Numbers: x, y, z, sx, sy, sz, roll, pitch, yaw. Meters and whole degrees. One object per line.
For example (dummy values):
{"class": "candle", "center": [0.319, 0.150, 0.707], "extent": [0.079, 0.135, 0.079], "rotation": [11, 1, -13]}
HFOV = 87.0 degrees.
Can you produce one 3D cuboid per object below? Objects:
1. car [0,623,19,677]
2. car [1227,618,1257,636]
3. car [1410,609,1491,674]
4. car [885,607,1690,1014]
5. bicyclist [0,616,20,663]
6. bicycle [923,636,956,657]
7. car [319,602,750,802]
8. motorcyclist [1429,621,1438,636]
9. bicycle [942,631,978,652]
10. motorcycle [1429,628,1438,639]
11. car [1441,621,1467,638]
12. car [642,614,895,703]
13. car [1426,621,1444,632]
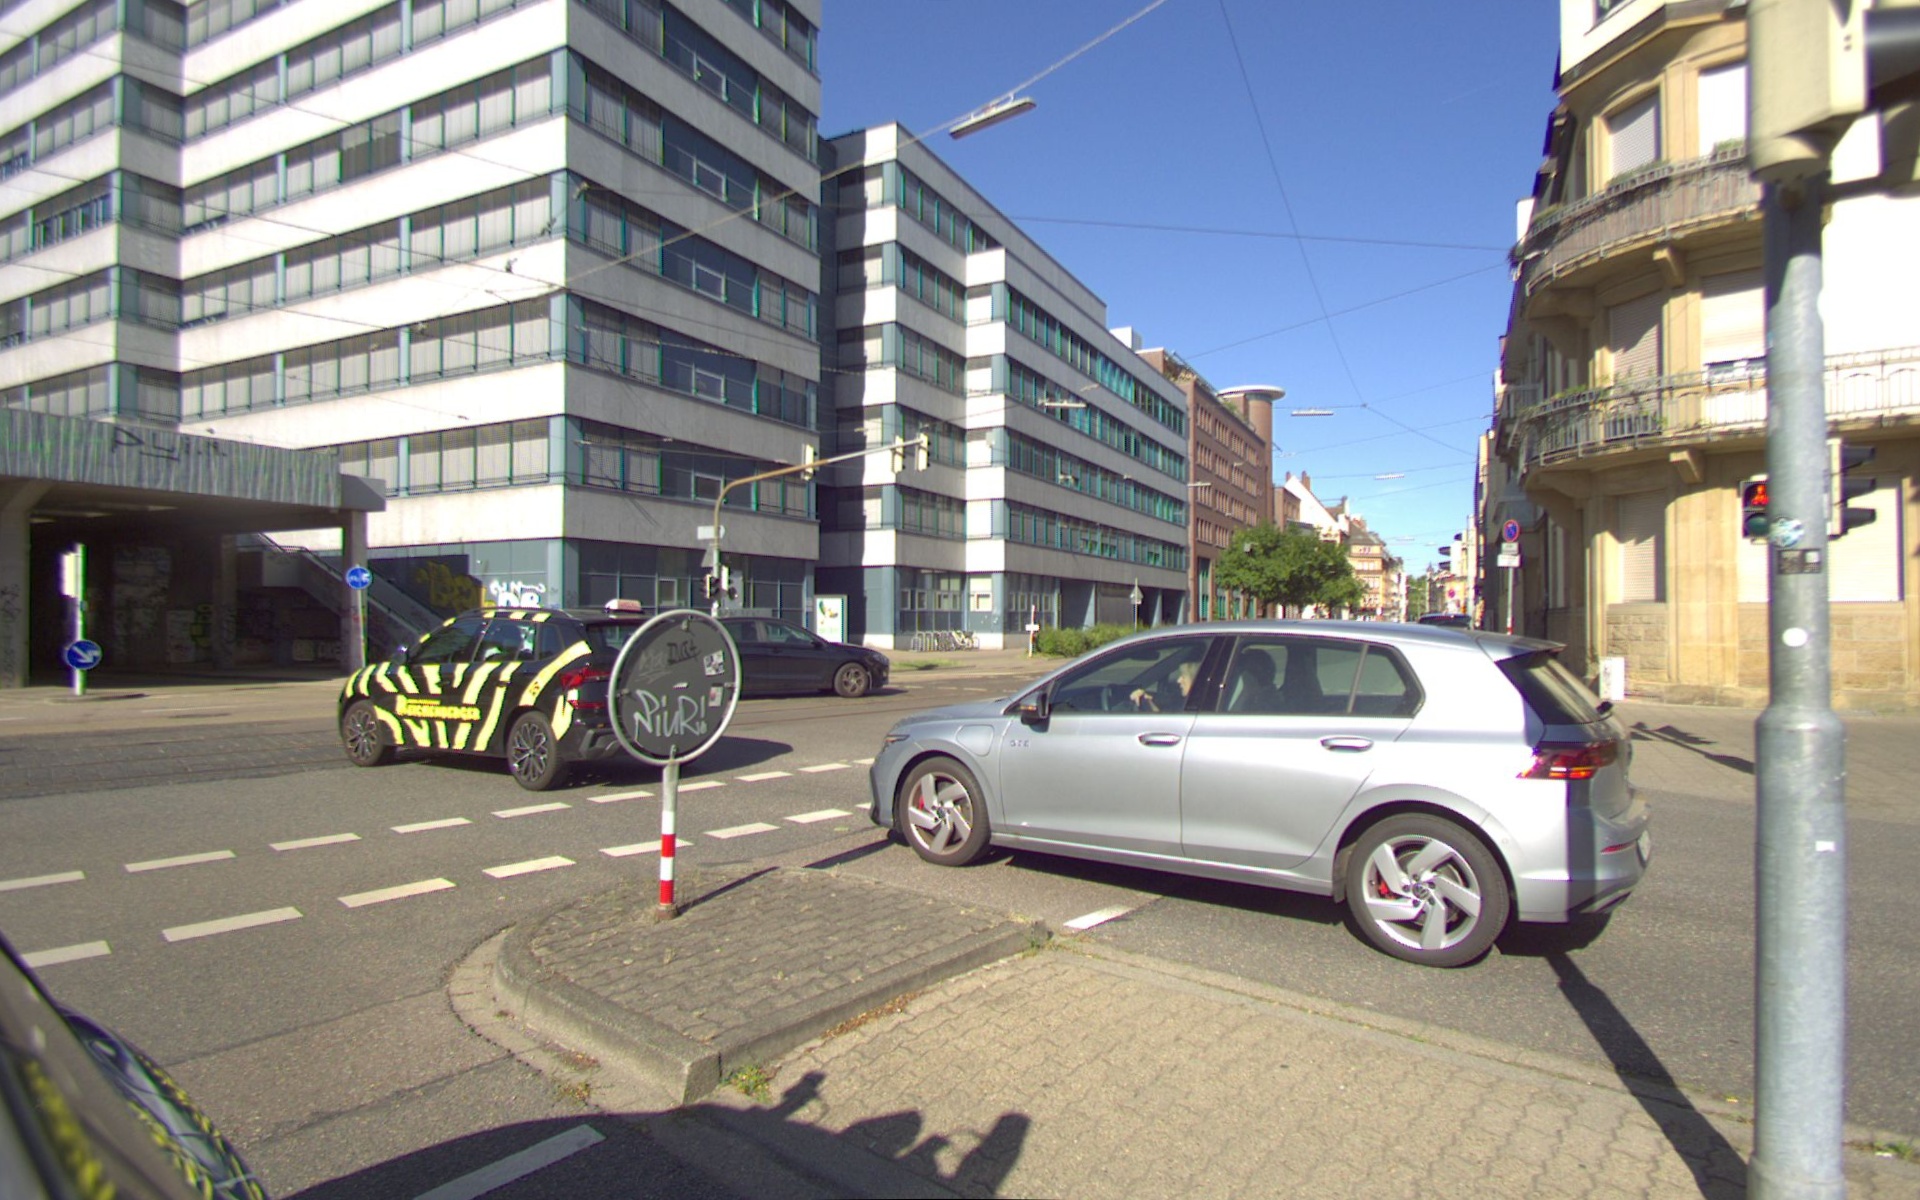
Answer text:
{"class": "car", "center": [-31.039, 1.537, 30.989], "extent": [4.125, 1.622, 1.874], "rotation": [-1, -2, 26]}
{"class": "car", "center": [24.783, 2.366, 88.838], "extent": [1.772, 1.614, 3.962], "rotation": [-1, -2, 28]}
{"class": "car", "center": [14.253, 1.160, 29.299], "extent": [1.954, 1.737, 4.133], "rotation": [0, -1, 28]}
{"class": "car", "center": [1.582, 0.788, 5.514], "extent": [3.845, 1.463, 1.692], "rotation": [-1, -1, 38]}
{"class": "bicyclist", "center": [-34.362, 1.412, 36.198], "extent": [1.026, 1.673, 0.777], "rotation": [-1, -2, 28]}
{"class": "bicycle", "center": [-1.012, 2.234, 48.955], "extent": [1.662, 0.988, 0.481], "rotation": [-1, -1, 37]}
{"class": "car", "center": [-4.111, 0.830, 9.612], "extent": [4.103, 1.525, 1.774], "rotation": [-1, -2, 33]}
{"class": "motorcyclist", "center": [59.060, 3.547, 126.133], "extent": [0.937, 1.884, 1.047], "rotation": [-1, -2, 23]}
{"class": "bicycle", "center": [-0.015, 2.033, 49.929], "extent": [1.896, 0.988, 0.481], "rotation": [-1, -1, 37]}
{"class": "motorcycle", "center": [59.083, 4.163, 126.200], "extent": [0.911, 1.242, 2.741], "rotation": [-1, -1, 24]}
{"class": "car", "center": [42.649, 2.513, 87.381], "extent": [1.796, 1.373, 3.676], "rotation": [-2, -2, 29]}
{"class": "car", "center": [-3.467, 0.997, 18.215], "extent": [4.251, 1.462, 1.812], "rotation": [0, -1, -19]}
{"class": "car", "center": [59.777, 3.326, 127.350], "extent": [1.796, 1.373, 3.676], "rotation": [-2, -2, 29]}
